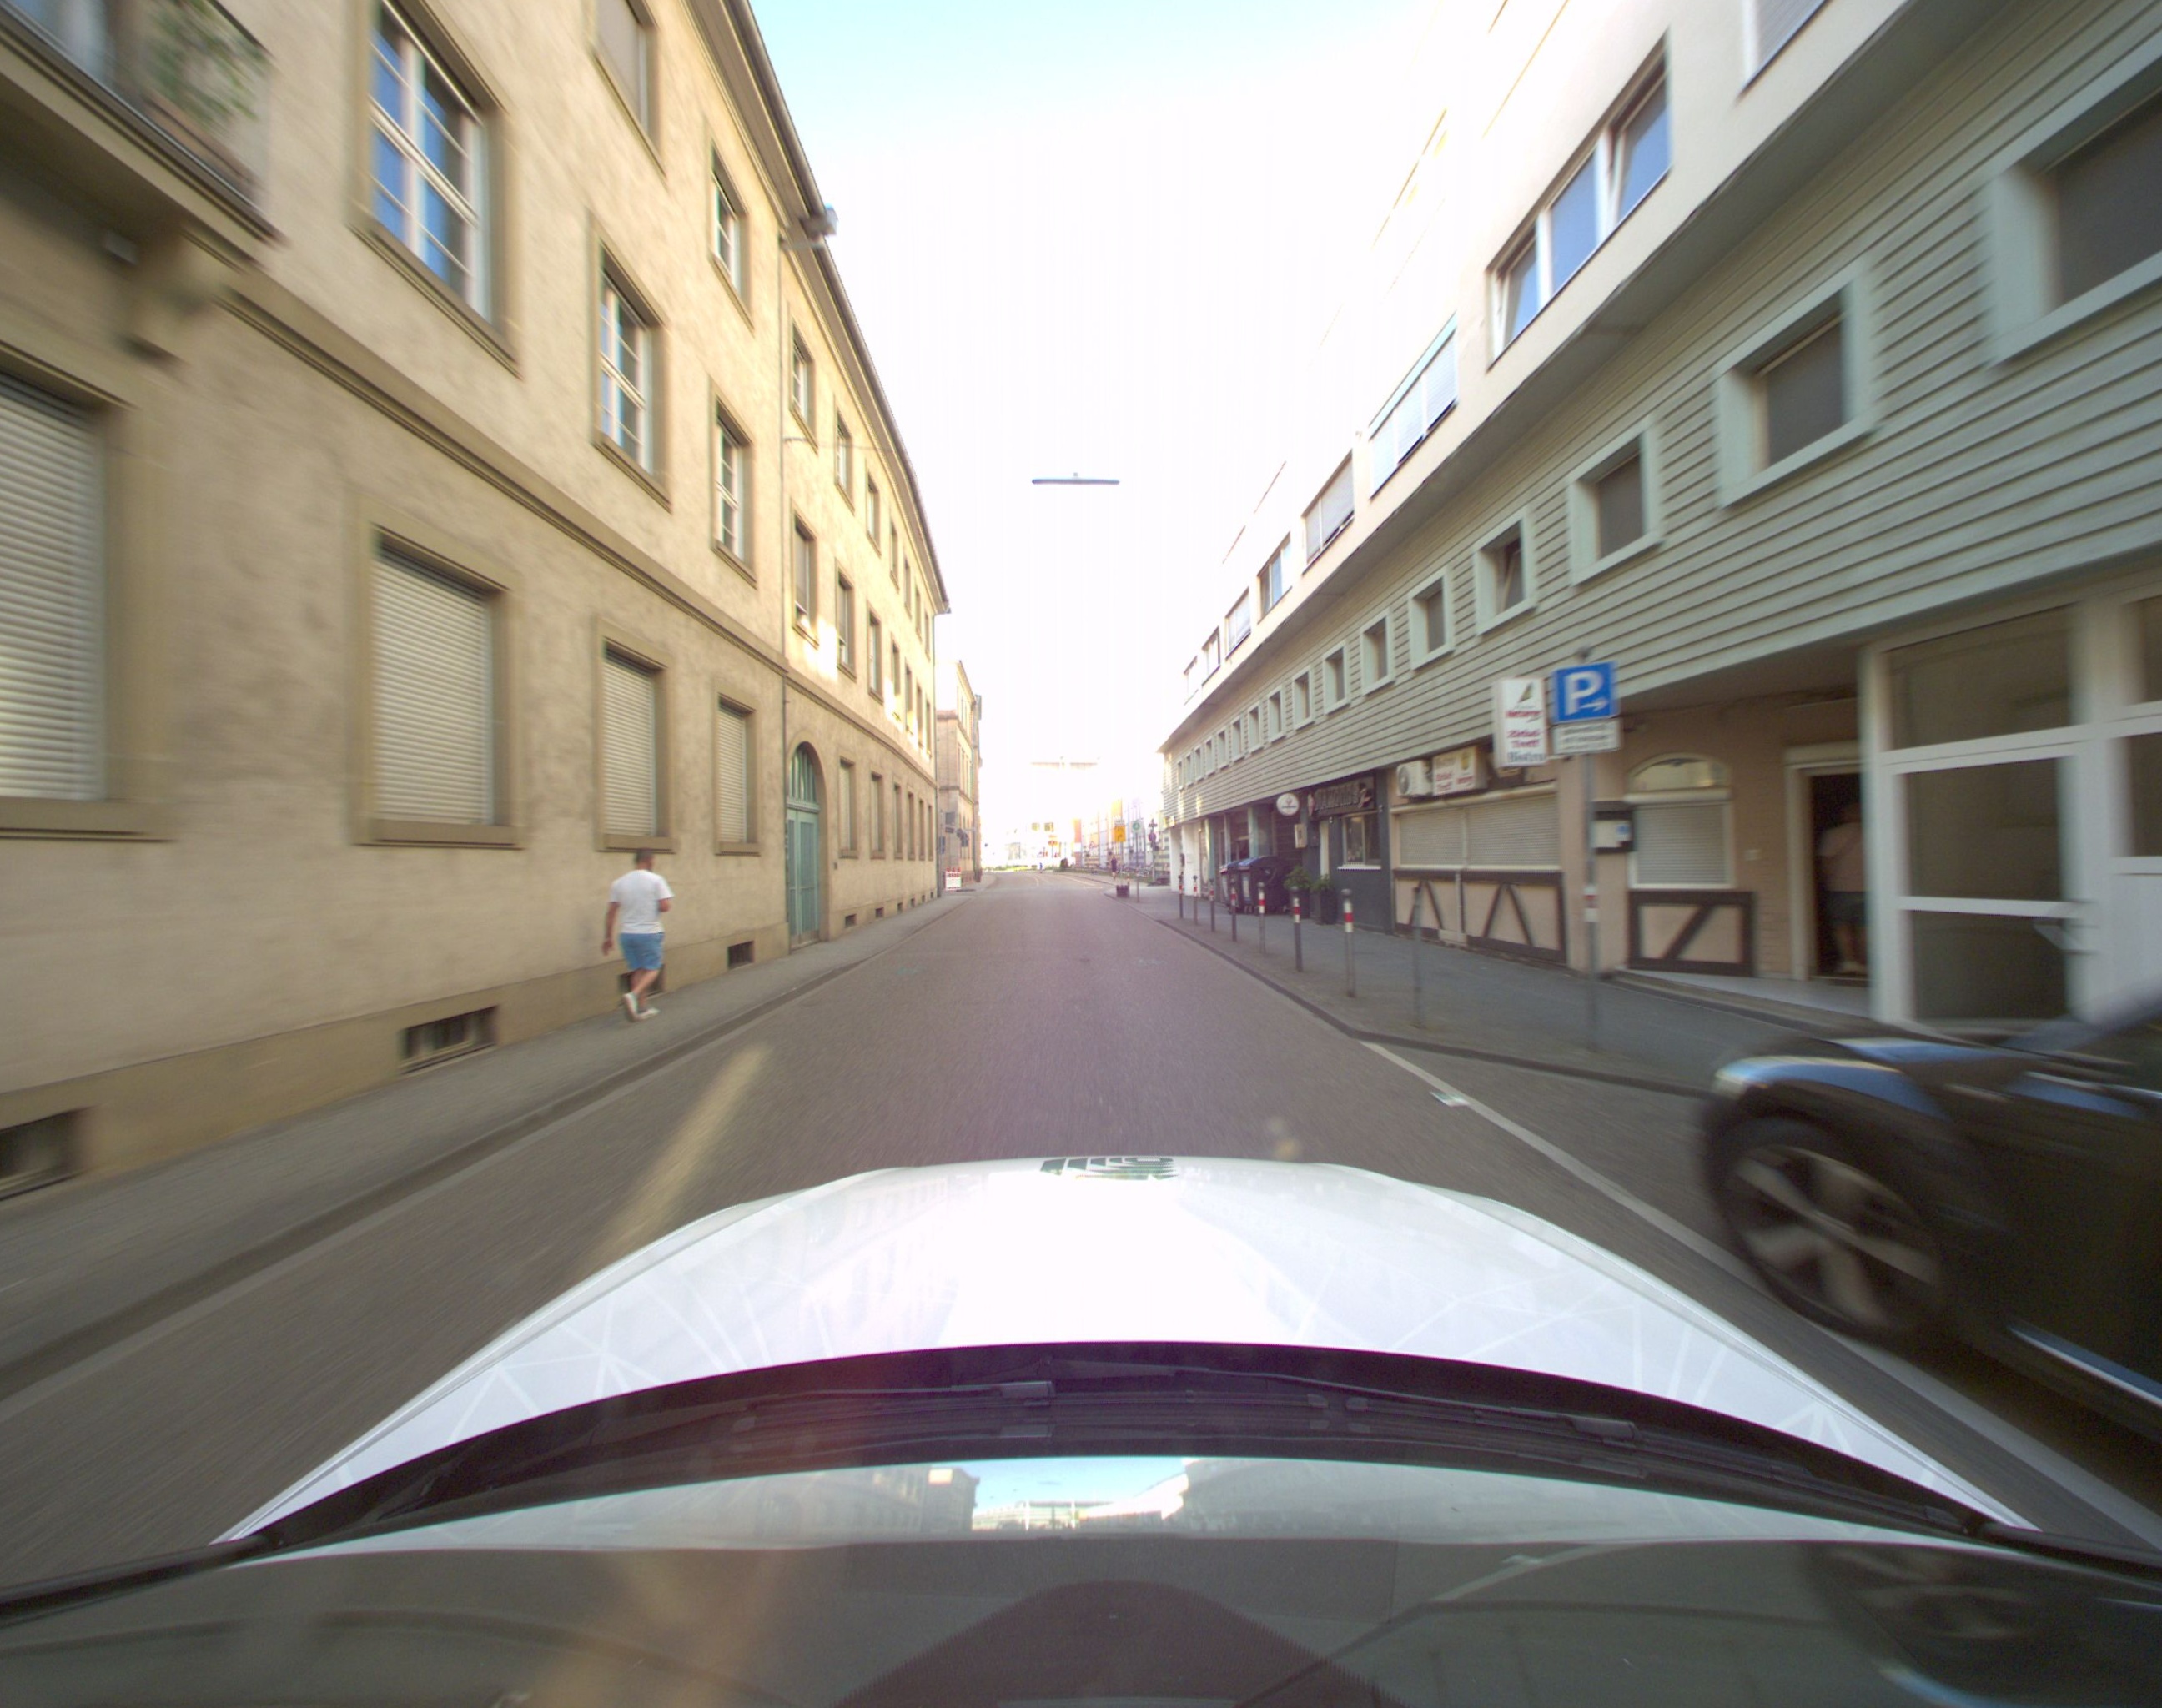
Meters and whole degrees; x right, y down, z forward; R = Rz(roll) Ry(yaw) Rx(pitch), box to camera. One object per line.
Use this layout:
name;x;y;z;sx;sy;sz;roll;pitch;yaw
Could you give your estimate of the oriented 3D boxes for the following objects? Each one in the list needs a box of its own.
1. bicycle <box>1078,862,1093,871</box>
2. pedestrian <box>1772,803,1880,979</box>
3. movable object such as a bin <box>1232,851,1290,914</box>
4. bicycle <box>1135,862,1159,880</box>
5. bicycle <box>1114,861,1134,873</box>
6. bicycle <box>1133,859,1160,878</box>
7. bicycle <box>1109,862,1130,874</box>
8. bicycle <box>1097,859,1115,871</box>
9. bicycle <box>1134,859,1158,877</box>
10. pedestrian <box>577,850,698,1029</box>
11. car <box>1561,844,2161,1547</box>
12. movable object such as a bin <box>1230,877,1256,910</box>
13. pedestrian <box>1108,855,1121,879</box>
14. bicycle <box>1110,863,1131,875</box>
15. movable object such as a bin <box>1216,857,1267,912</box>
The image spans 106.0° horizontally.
bicycle;0.538;1.528;100.839;1.754;1.004;0.611;-3;-1;-10
pedestrian;7.679;0.364;8.414;0.767;1.717;0.493;-2;-1;43
movable object such as a bin;4.486;0.720;20.392;0.979;1.480;1.550;-3;-3;-3
bicycle;4.686;1.200;57.650;1.643;1.141;0.282;-5;0;-14
bicycle;3.790;1.124;71.911;1.745;0.946;0.325;-3;-1;-5
bicycle;4.524;0.984;56.260;1.746;1.141;0.551;-5;0;-6
bicycle;3.346;1.237;70.826;1.746;0.946;0.551;-3;-1;-6
bicycle;2.622;1.188;86.694;1.808;1.137;0.550;-2;-1;-7
bicycle;4.617;0.979;57.922;1.604;1.141;0.236;-5;0;-14
pedestrian;-4.353;0.807;8.054;0.690;1.670;0.874;0;-1;-1
car;3.232;0.716;1.614;1.878;1.489;4.364;-1;0;-2
movable object such as a bin;4.551;1.113;22.928;0.555;0.899;0.522;-3;-3;-3
pedestrian;2.504;0.999;61.390;0.695;1.760;1.187;-4;0;-5
bicycle;3.376;1.331;70.163;1.746;0.946;0.551;-3;-1;-6
movable object such as a bin;4.297;0.819;21.883;0.979;1.385;1.319;-3;-3;-3
